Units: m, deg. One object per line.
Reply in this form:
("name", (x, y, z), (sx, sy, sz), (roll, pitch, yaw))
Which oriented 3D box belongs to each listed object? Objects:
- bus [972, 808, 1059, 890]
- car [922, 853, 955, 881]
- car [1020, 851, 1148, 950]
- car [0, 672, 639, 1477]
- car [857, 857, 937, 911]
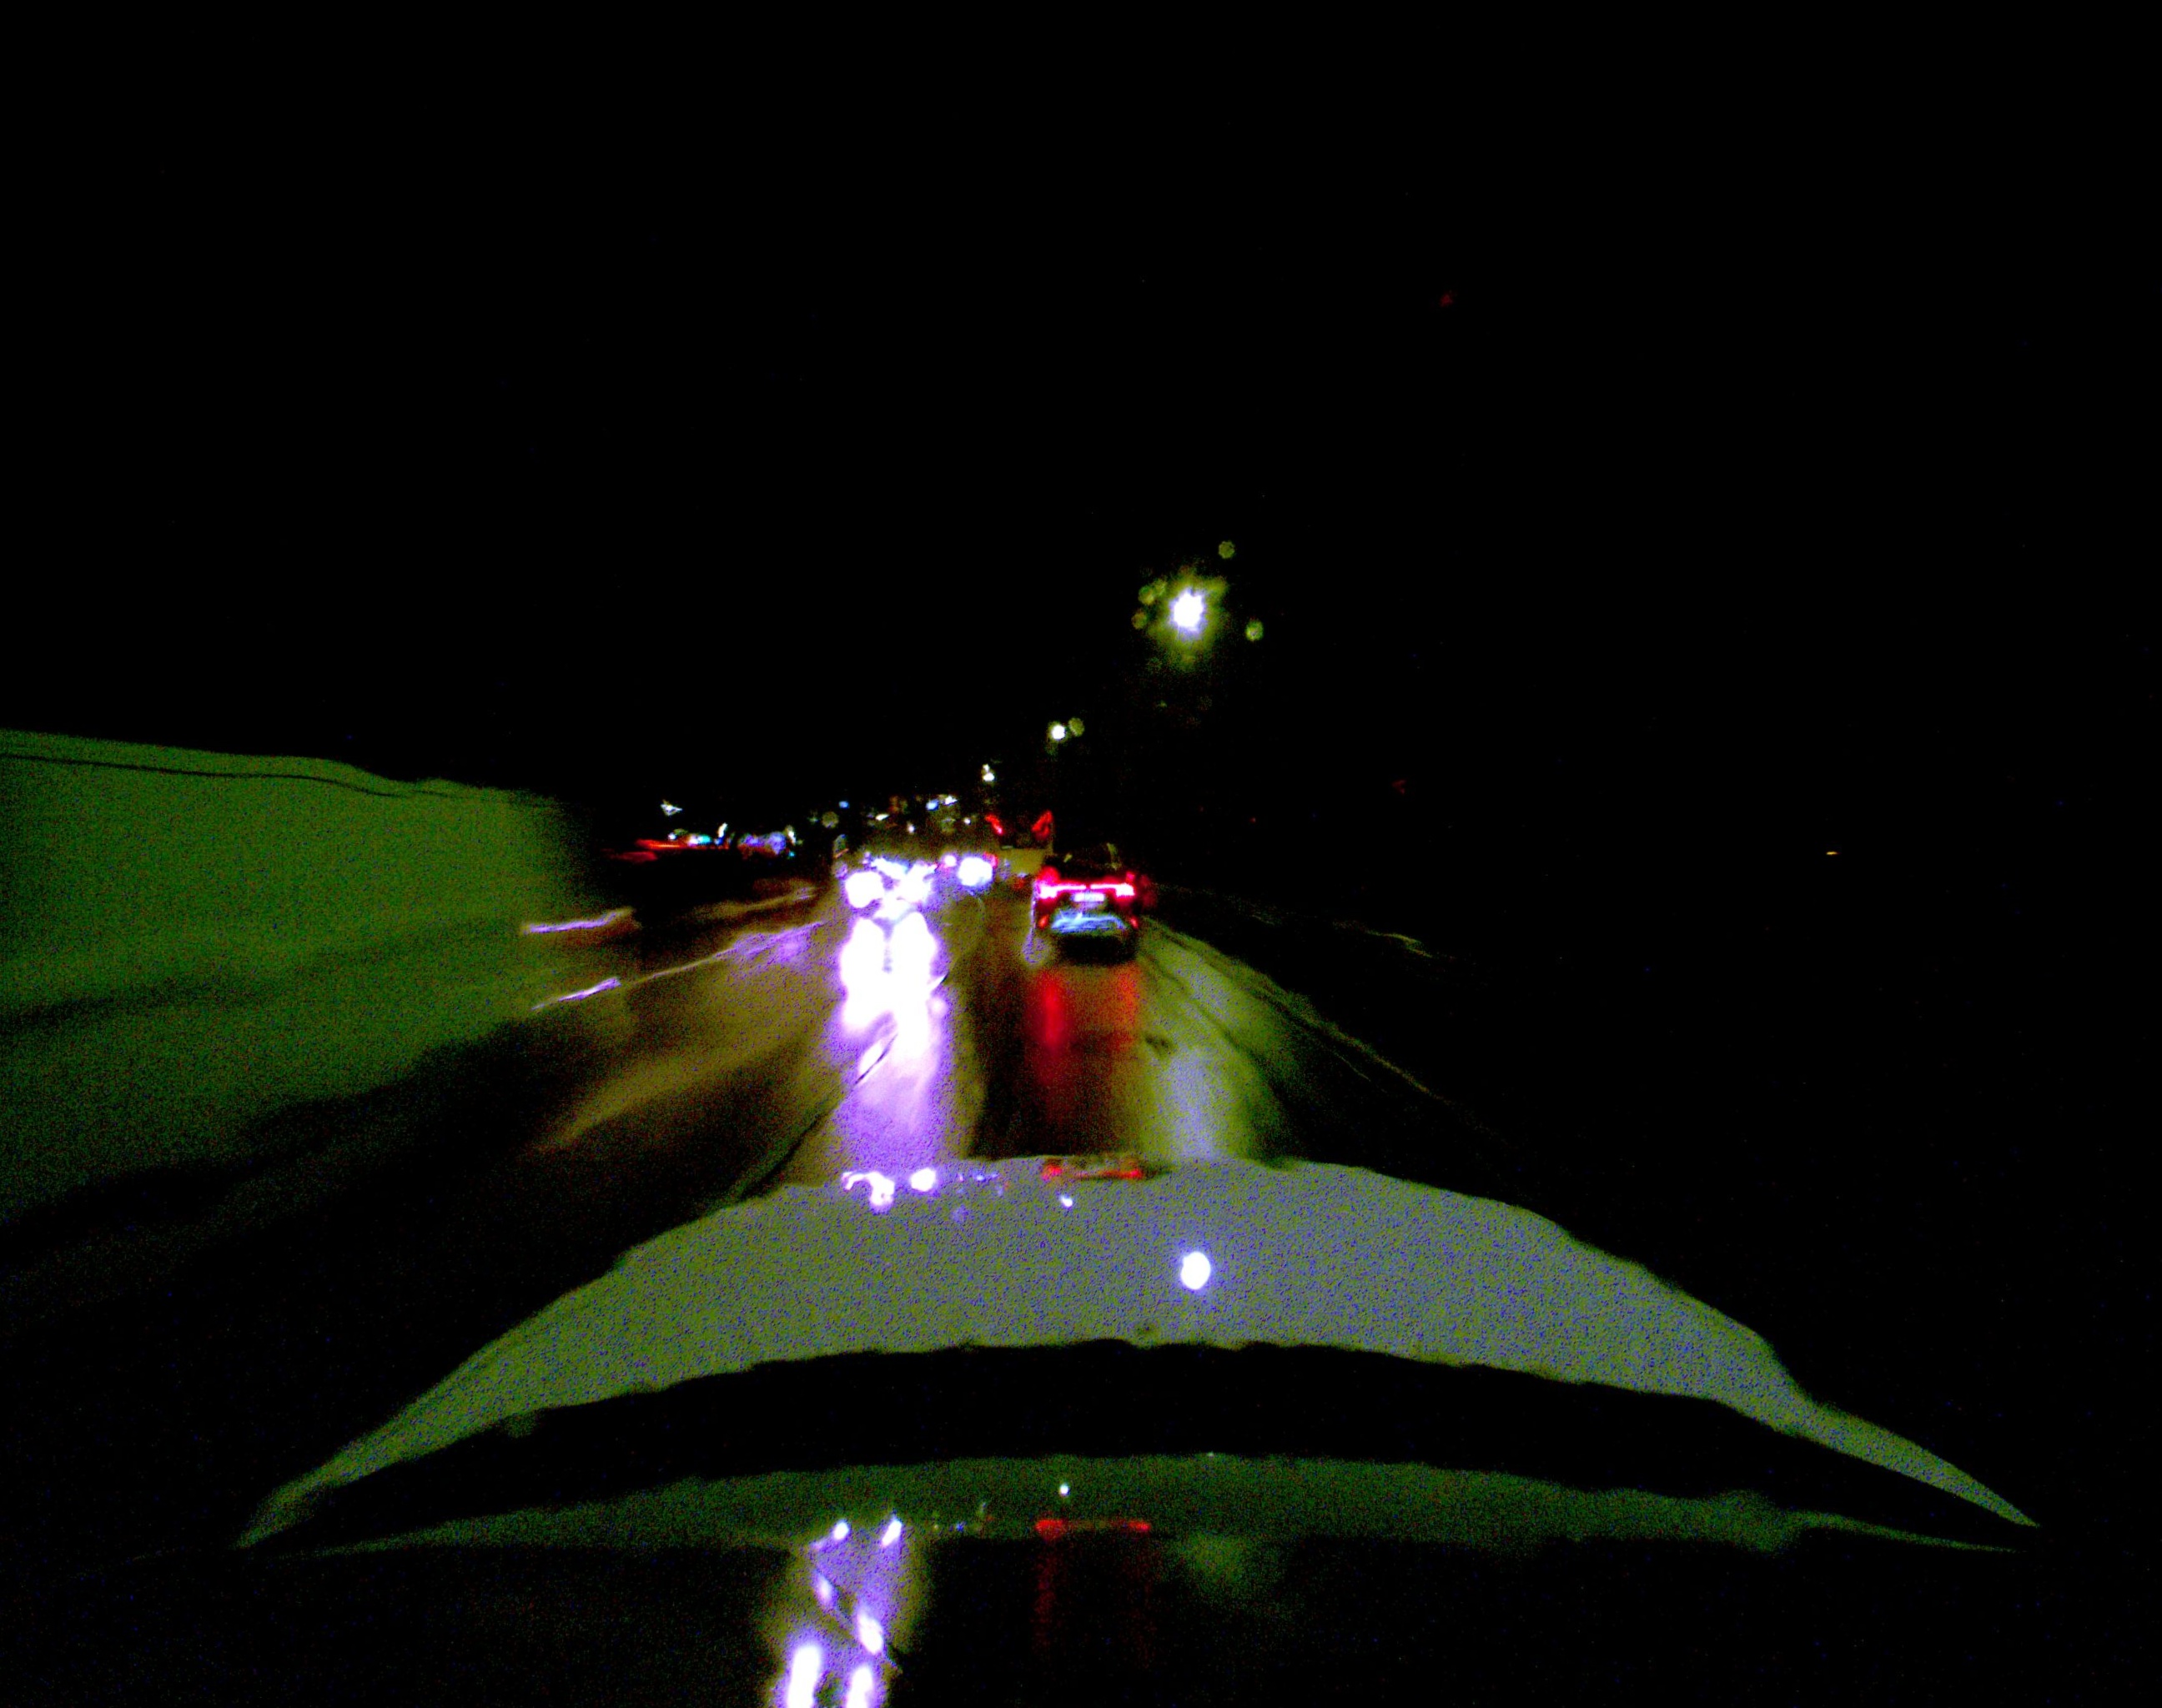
("bus", (-3.183, -0.192, 36.858), (3.044, 3.212, 9.019), (-1, 0, -10))
("car", (-13.513, 1.221, 76.945), (2.701, 2.478, 5.282), (-1, 0, -13))
("car", (0.017, 0.714, 14.637), (1.988, 1.524, 3.998), (0, 0, -1))
("car", (-3.896, 0.552, 2.231), (2.442, 1.988, 5.491), (0, 0, -1))
("car", (-5.294, 0.805, 23.839), (1.726, 1.405, 3.856), (-1, 0, -5))
